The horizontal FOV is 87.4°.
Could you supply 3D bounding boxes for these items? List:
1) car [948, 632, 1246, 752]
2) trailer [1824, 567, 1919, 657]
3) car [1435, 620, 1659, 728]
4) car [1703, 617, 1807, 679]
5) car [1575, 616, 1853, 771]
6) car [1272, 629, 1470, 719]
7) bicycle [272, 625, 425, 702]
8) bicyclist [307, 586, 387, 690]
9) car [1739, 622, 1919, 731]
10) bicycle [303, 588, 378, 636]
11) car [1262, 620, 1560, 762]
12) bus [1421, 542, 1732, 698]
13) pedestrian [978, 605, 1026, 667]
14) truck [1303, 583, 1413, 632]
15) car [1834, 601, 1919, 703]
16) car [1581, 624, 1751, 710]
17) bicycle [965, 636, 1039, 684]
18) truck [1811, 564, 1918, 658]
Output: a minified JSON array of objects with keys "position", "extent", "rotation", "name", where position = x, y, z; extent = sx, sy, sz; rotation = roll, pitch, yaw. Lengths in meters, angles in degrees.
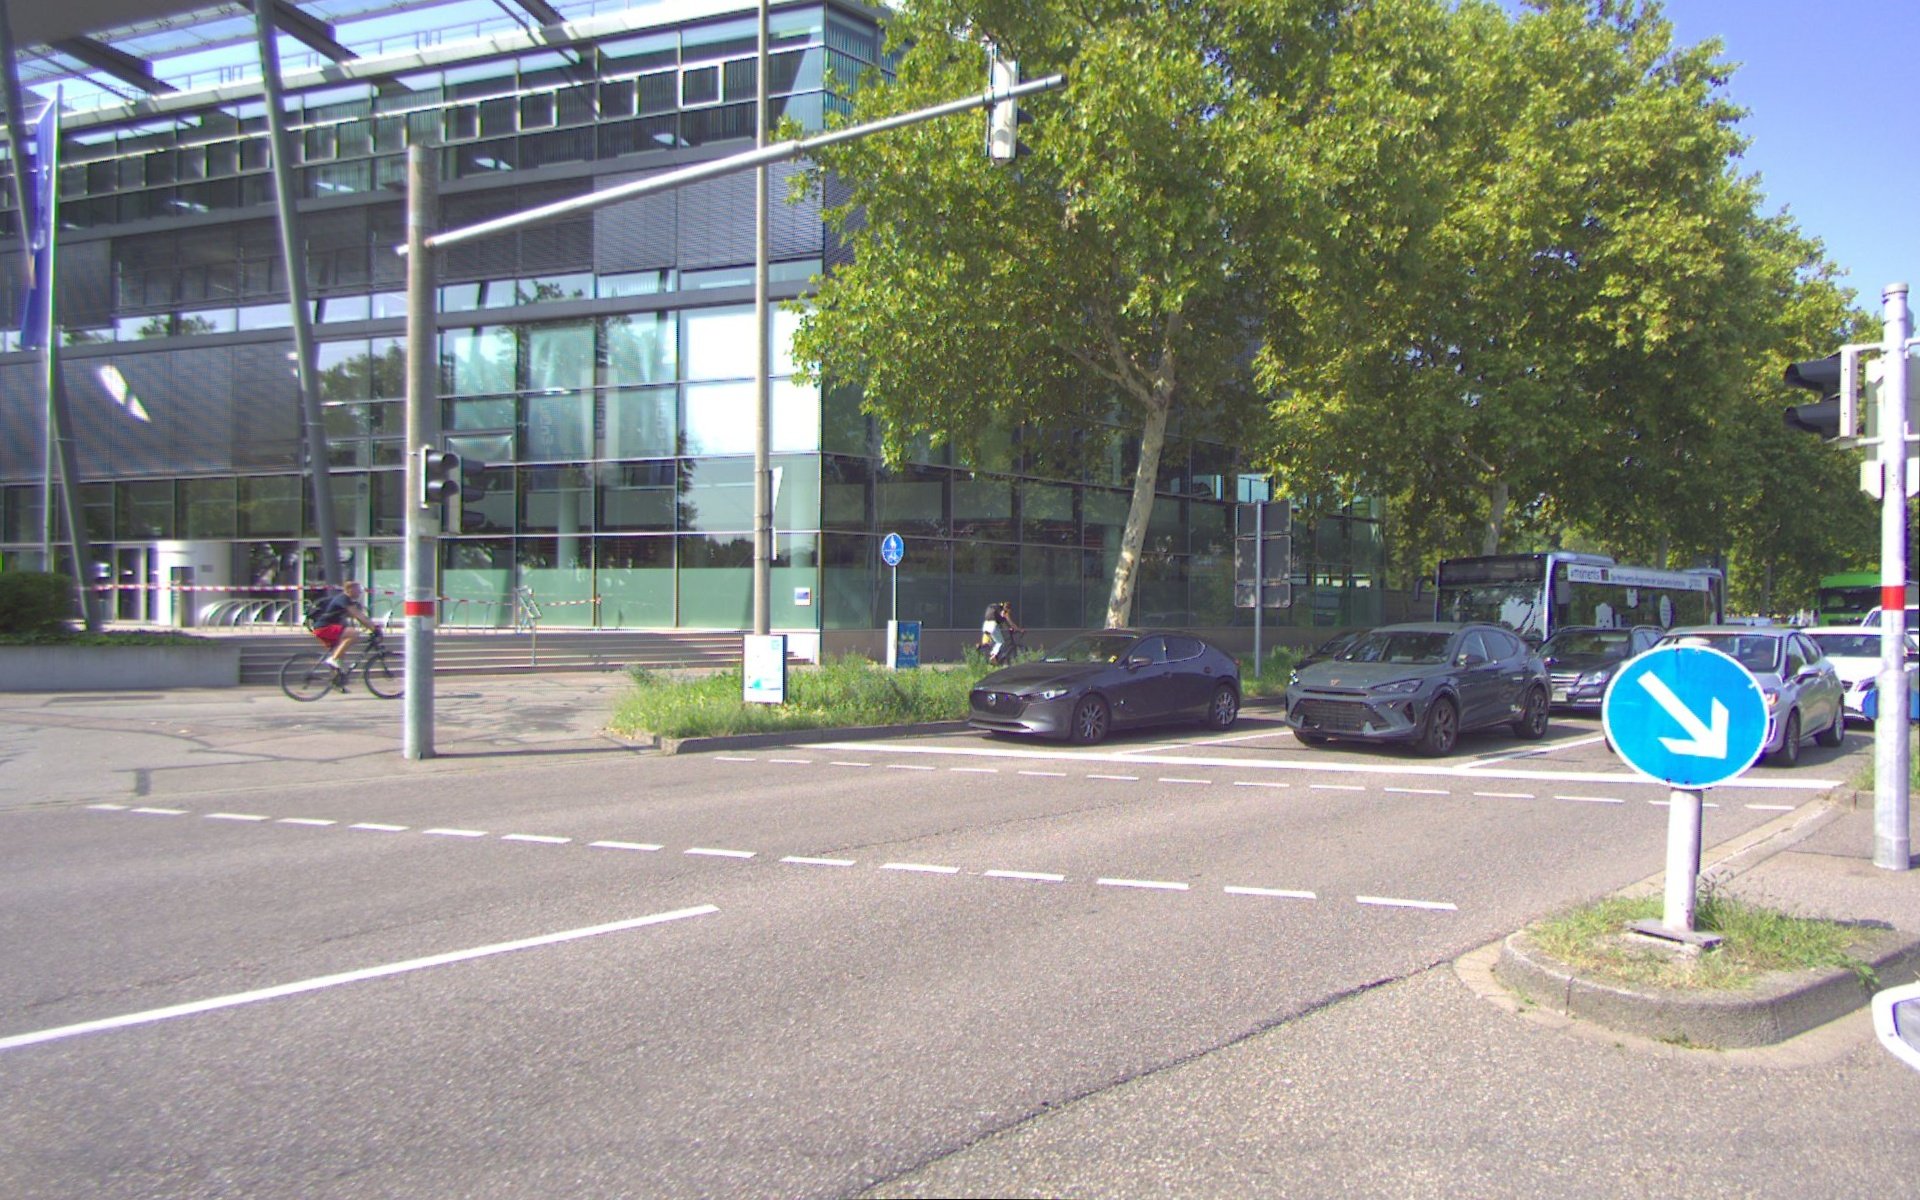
[{"position":[1.951,1.126,13.613],"extent":[4.126,1.371,1.695],"rotation":[1,-2,-40],"name":"car"},{"position":[44.912,0.738,48.364],"extent":[13.695,3.872,2.612],"rotation":[2,-3,-39],"name":"trailer"},{"position":[9.434,1.106,16.034],"extent":[3.963,1.461,1.693],"rotation":[2,0,-37],"name":"car"},{"position":[26.403,1.586,33.311],"extent":[4.707,1.913,1.691],"rotation":[2,-3,-39],"name":"car"},{"position":[8.894,0.987,11.752],"extent":[3.965,1.515,1.631],"rotation":[2,-2,-38],"name":"car"},{"position":[7.569,1.267,18.350],"extent":[3.967,1.409,1.728],"rotation":[1,-1,-40],"name":"car"},{"position":[-9.293,0.964,15.337],"extent":[1.859,1.125,0.655],"rotation":[2,0,-18],"name":"bicycle"},{"position":[-9.335,0.574,15.331],"extent":[0.872,1.538,0.654],"rotation":[2,0,-18],"name":"bicyclist"},{"position":[13.416,1.054,15.273],"extent":[4.050,1.421,1.695],"rotation":[1,-1,-40],"name":"car"},{"position":[-15.013,0.294,24.415],"extent":[0.516,1.108,1.868],"rotation":[1,0,5],"name":"bicycle"},{"position":[5.861,1.028,12.839],"extent":[4.229,1.524,1.839],"rotation":[1,-2,-40],"name":"car"},{"position":[15.710,0.556,24.893],"extent":[12.205,3.120,2.570],"rotation":[2,-1,-39],"name":"bus"},{"position":[0.949,0.810,22.697],"extent":[1.024,1.367,0.494],"rotation":[1,0,-40],"name":"pedestrian"},{"position":[25.458,0.511,63.986],"extent":[9.040,2.899,1.980],"rotation":[2,-1,-36],"name":"truck"},{"position":[19.395,1.022,20.248],"extent":[4.849,1.888,1.896],"rotation":[2,-3,-40],"name":"car"},{"position":[13.565,1.241,19.245],"extent":[3.789,1.486,1.693],"rotation":[2,-3,-39],"name":"car"},{"position":[0.959,1.337,22.710],"extent":[1.816,1.022,0.499],"rotation":[1,-1,-40],"name":"bicycle"},{"position":[39.904,0.557,44.264],"extent":[5.841,3.869,2.587],"rotation":[2,-3,-39],"name":"truck"}]
